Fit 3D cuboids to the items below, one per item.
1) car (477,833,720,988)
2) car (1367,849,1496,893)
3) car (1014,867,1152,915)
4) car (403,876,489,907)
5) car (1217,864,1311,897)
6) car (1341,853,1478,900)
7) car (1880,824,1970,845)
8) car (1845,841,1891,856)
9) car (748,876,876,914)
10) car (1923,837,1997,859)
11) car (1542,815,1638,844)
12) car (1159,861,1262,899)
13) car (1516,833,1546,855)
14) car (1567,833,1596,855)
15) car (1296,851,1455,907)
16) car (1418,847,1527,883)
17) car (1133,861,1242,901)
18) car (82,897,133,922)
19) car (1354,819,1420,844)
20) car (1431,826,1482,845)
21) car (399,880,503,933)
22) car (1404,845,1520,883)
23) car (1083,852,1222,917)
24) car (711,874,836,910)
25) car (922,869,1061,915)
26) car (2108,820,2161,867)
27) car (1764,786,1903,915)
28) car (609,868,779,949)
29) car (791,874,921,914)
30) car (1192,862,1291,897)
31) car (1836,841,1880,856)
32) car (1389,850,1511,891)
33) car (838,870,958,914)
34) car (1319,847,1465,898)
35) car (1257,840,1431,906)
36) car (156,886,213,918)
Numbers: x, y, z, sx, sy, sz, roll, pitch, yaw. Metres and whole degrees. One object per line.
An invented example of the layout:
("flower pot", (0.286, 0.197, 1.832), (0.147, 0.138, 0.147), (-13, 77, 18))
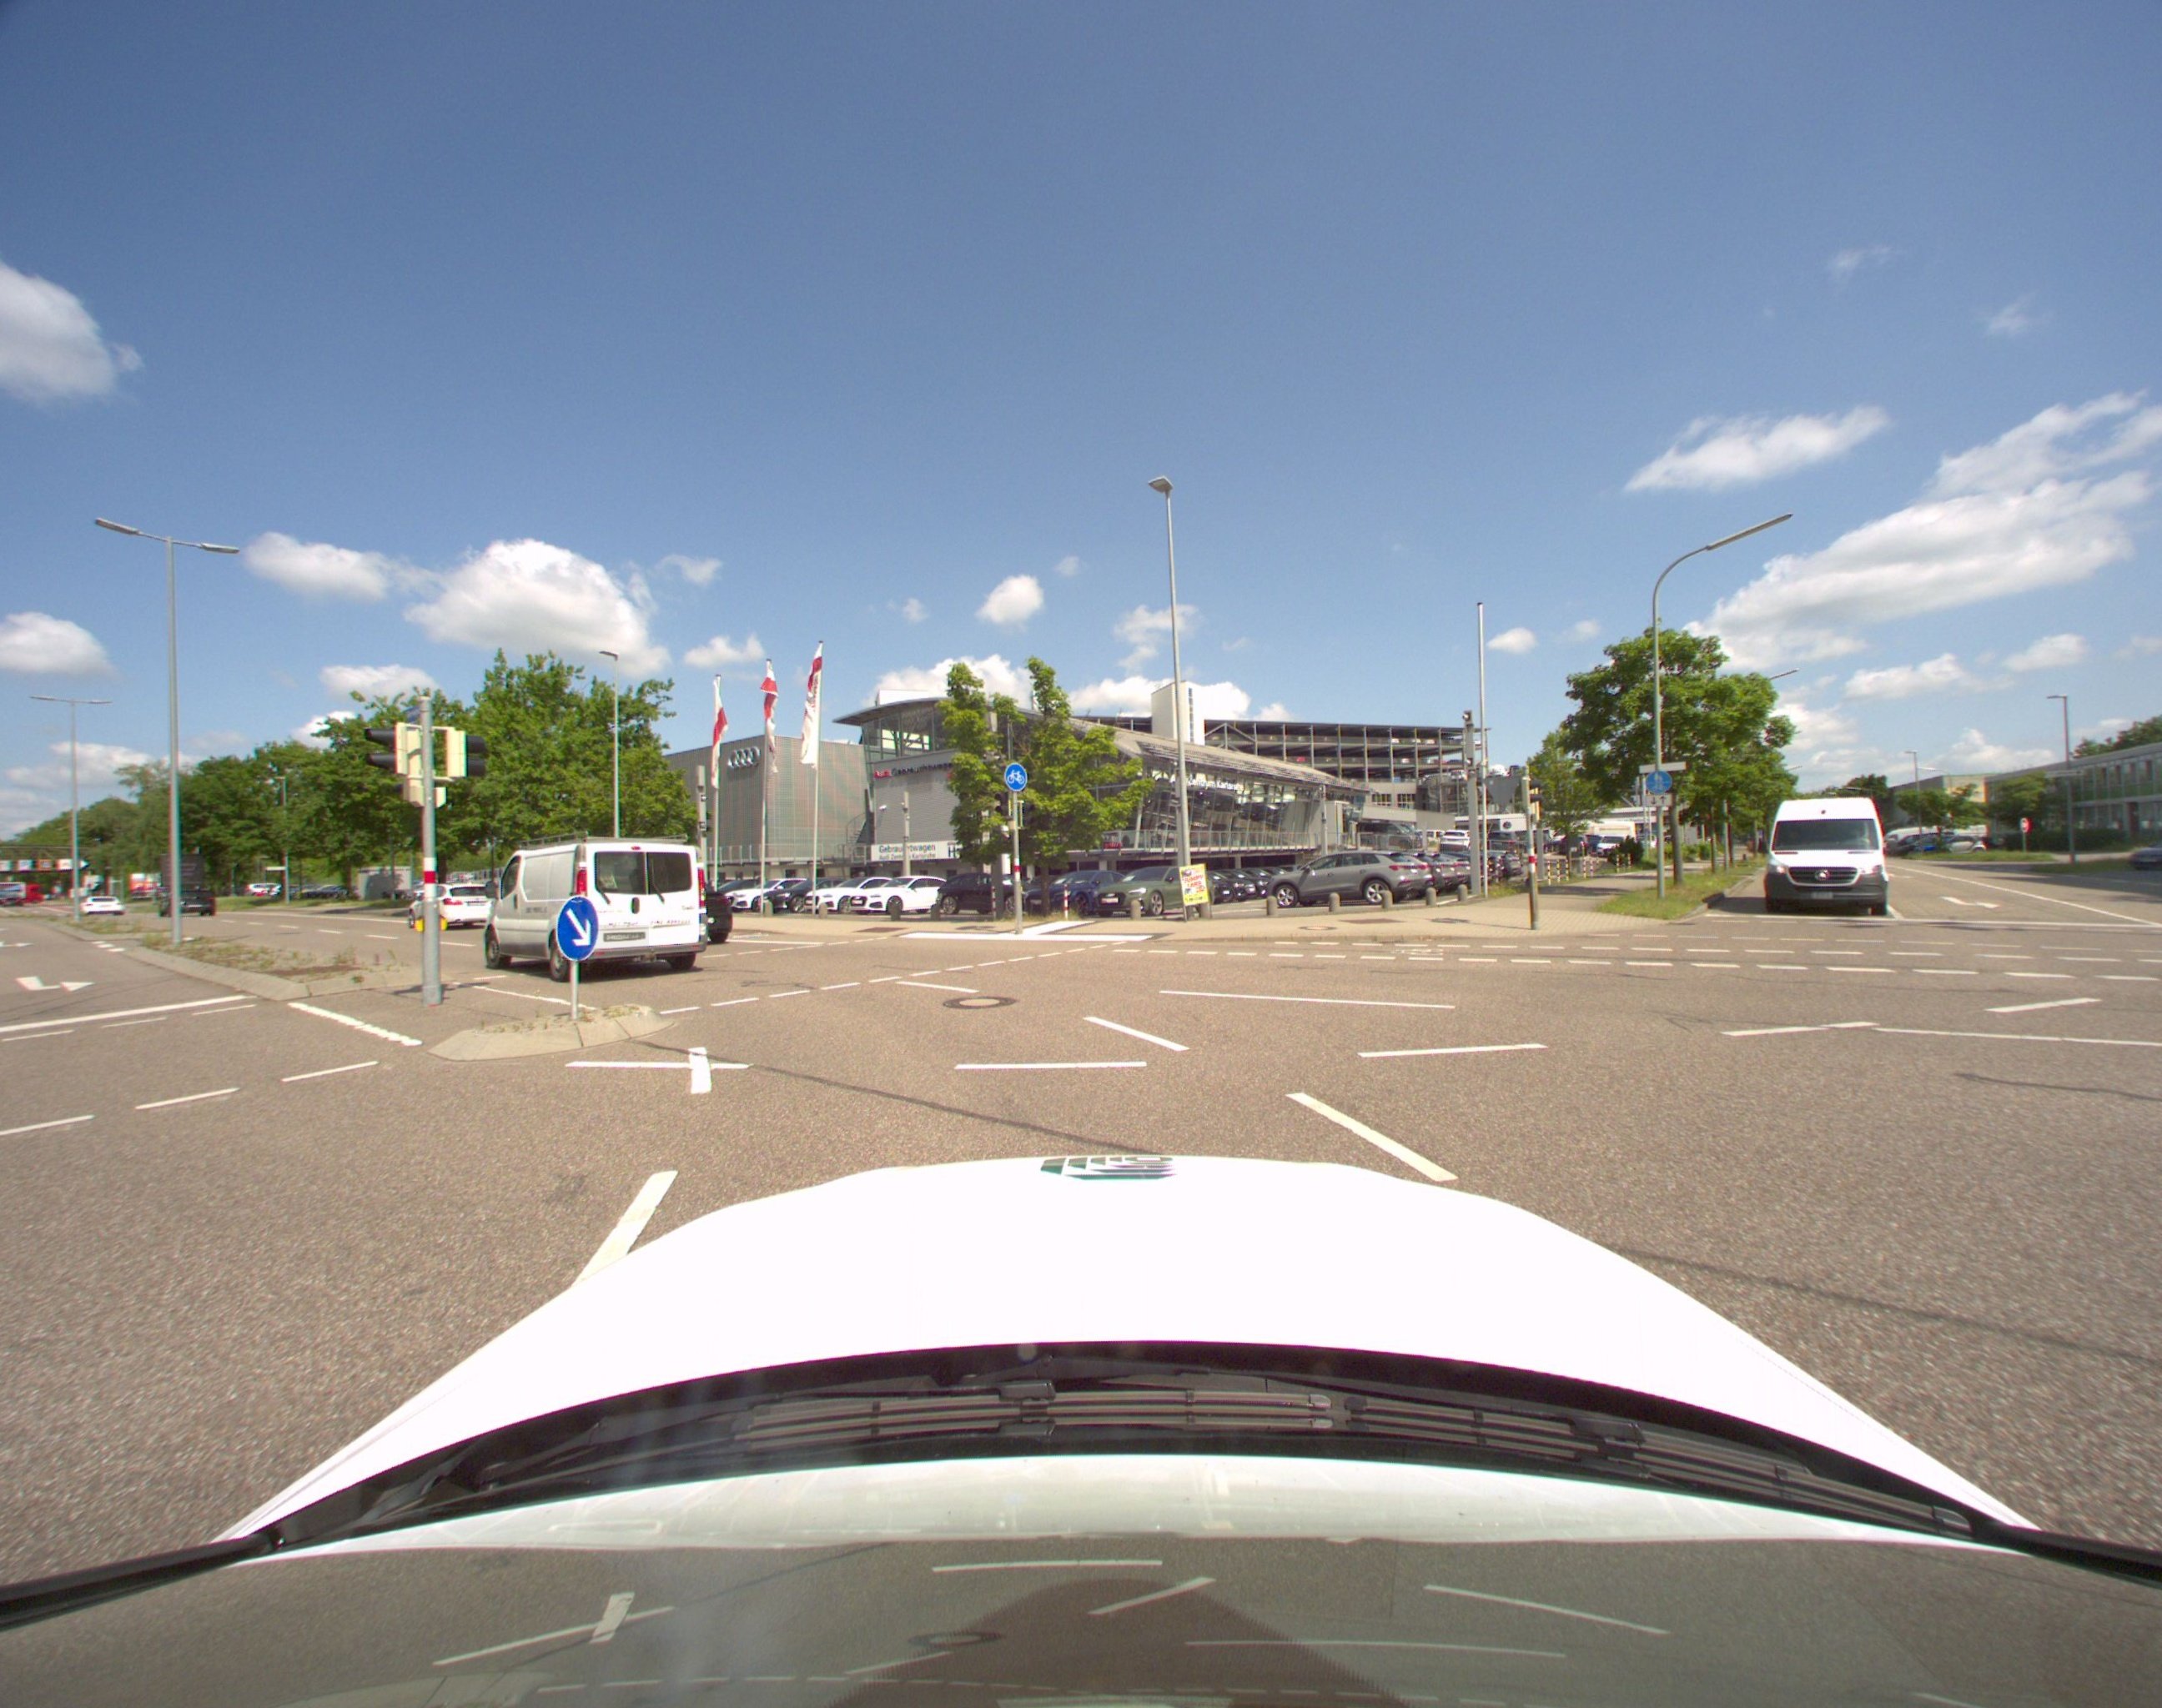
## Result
("car", (-7.836, 0.778, 13.048), (4.506, 2.060, 1.992), (-1, -1, 41))
("car", (14.335, 0.661, 33.428), (4.530, 1.678, 1.919), (0, -1, 38))
("car", (0.167, 1.059, 24.953), (1.882, 1.297, 4.619), (0, 0, 36))
("car", (-46.455, 2.686, 59.706), (1.882, 2.049, 4.619), (0, -1, 36))
("car", (9.737, 1.374, 43.564), (4.530, 1.678, 1.919), (0, -1, 38))
("car", (12.561, 0.815, 31.300), (4.530, 1.678, 1.919), (0, -1, 38))
("car", (88.128, -1.959, 85.209), (6.280, 2.014, 2.589), (0, -1, 39))
("car", (102.264, -0.704, 105.839), (3.948, 2.014, 2.013), (0, -1, 33))
("car", (-10.622, 1.588, 32.488), (1.882, 1.297, 4.619), (0, 0, 36))
("car", (71.751, -0.458, 66.564), (3.950, 1.750, 2.012), (0, -1, 43))
("car", (40.318, -1.875, 64.604), (6.325, 2.102, 1.776), (0, -1, 36))
("car", (6.216, 1.213, 39.316), (4.494, 1.740, 2.013), (0, -1, 34))
("car", (33.732, -0.722, 61.025), (1.546, 1.552, 3.625), (0, -1, 36))
("car", (35.975, -0.698, 58.493), (1.546, 1.552, 3.625), (0, -1, 36))
("car", (9.592, 0.759, 26.704), (4.530, 1.678, 1.919), (0, -1, 38))
("car", (19.255, 0.534, 40.097), (4.530, 1.678, 1.919), (0, -1, 38))
("car", (4.839, 1.191, 37.270), (4.494, 1.740, 2.013), (0, -1, 34))
("car", (-67.871, 3.839, 56.765), (3.948, 1.442, 1.873), (0, -1, 34))
("car", (23.530, -1.725, 62.671), (4.398, 1.801, 1.776), (0, -1, 35))
("car", (32.840, -1.599, 71.221), (3.949, 1.552, 1.776), (0, -1, 29))
("car", (-21.879, 1.762, 28.255), (3.948, 1.618, 1.789), (0, -1, 35))
("car", (17.591, 0.456, 37.687), (4.530, 1.678, 1.919), (0, -1, 38))
("car", (2.162, 0.801, 23.352), (1.882, 1.678, 4.619), (0, -1, 36))
("car", (-12.820, 1.553, 34.177), (1.882, 1.297, 4.619), (0, 0, 36))
("car", (-3.112, 1.306, 27.851), (4.694, 1.464, 1.807), (-2, -4, 35))
("car", (47.559, -0.436, 34.899), (3.948, 2.014, 2.013), (0, -1, 33))
("car", (18.067, -0.048, 19.615), (2.112, 2.607, 6.905), (0, -1, 43))
("car", (-8.892, 1.153, 18.614), (3.948, 1.629, 1.791), (-1, -1, 35))
("car", (-8.460, 1.472, 31.041), (1.882, 1.297, 4.619), (0, 0, 36))
("car", (8.124, 1.239, 41.450), (4.530, 1.678, 1.919), (0, -1, 38))
("car", (104.153, -0.731, 109.270), (3.948, 2.014, 2.013), (0, -1, 33))
("car", (16.065, 0.701, 35.566), (4.530, 1.678, 1.919), (0, -1, 38))
("car", (-6.476, 1.390, 29.207), (1.772, 1.464, 4.024), (-2, -4, 36))
("car", (11.126, 0.629, 29.287), (4.530, 1.678, 1.919), (0, -1, 38))
("car", (7.915, 0.627, 24.725), (4.530, 1.678, 1.919), (-5, -4, 38))
("car", (-51.937, 2.730, 47.173), (4.213, 1.618, 1.789), (0, -1, 36))
